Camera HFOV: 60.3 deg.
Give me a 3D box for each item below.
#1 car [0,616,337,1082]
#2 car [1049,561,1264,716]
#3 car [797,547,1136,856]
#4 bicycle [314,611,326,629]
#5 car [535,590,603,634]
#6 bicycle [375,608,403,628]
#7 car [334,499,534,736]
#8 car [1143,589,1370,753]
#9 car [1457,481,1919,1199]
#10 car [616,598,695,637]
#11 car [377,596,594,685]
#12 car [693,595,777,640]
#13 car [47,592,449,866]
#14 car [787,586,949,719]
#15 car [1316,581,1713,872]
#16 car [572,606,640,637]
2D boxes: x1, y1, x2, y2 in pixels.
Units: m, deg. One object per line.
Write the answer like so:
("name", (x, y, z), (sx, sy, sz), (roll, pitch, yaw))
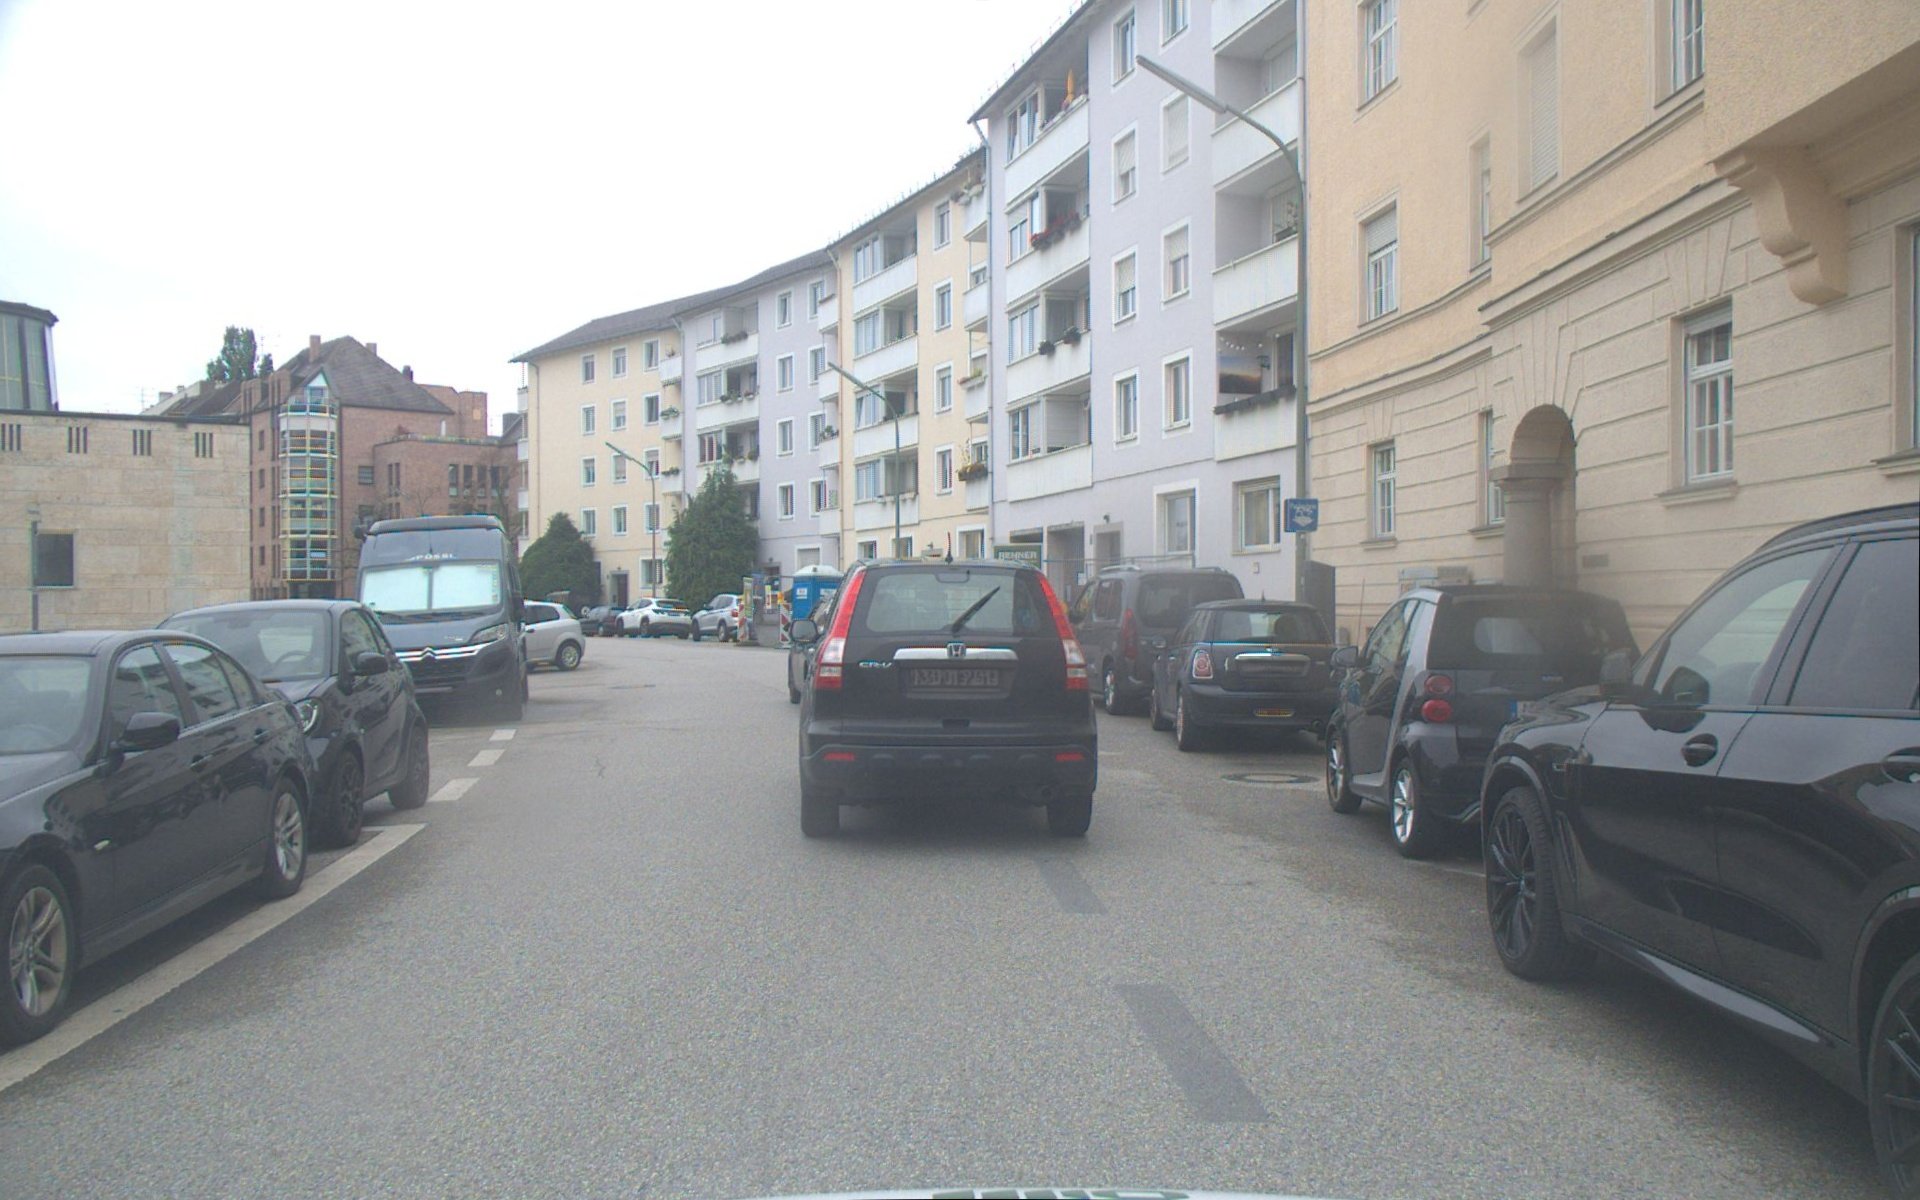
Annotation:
("car", (-4.122, 0.839, 6.870), (1.765, 1.430, 4.449), (-2, 0, -6))
("car", (2.483, 0.460, 22.001), (1.745, 1.838, 4.267), (1, 0, -9))
("car", (-0.088, 0.550, 11.036), (1.853, 1.676, 3.988), (0, 0, -4))
("bicycle", (-46.679, 1.443, 120.650), (0.545, 1.311, 1.742), (0, 0, -30))
("car", (-17.760, 0.527, 75.037), (1.709, 1.911, 3.952), (0, 0, -34))
("bicycle", (-38.374, 1.197, 111.138), (1.736, 1.311, 0.547), (0, 0, -32))
("car", (-6.858, 0.171, 22.165), (2.128, 2.688, 5.994), (-2, 1, -14))
("car", (2.938, 0.654, 17.108), (1.673, 1.472, 3.830), (1, 0, 1))
("car", (3.162, 0.611, 4.973), (1.831, 1.747, 4.865), (1, 0, 0))
("car", (-12.402, 0.701, 67.180), (1.709, 1.509, 3.952), (0, 0, -34))
("car", (-9.788, 0.815, 34.369), (1.652, 1.507, 4.068), (-5, 0, 38))
("car", (-7.984, 0.604, 58.422), (1.705, 1.509, 3.963), (0, 0, -28))
("car", (-4.620, 0.746, 11.177), (1.638, 1.528, 2.973), (-2, 0, -6))
("car", (-1.262, 0.596, 20.962), (1.648, 1.507, 4.078), (0, 0, -9))
("car", (3.344, 0.685, 10.529), (1.503, 1.550, 3.111), (1, 0, 1))
("car", (-15.268, 0.915, 71.268), (1.683, 1.258, 3.559), (0, 0, -34))
